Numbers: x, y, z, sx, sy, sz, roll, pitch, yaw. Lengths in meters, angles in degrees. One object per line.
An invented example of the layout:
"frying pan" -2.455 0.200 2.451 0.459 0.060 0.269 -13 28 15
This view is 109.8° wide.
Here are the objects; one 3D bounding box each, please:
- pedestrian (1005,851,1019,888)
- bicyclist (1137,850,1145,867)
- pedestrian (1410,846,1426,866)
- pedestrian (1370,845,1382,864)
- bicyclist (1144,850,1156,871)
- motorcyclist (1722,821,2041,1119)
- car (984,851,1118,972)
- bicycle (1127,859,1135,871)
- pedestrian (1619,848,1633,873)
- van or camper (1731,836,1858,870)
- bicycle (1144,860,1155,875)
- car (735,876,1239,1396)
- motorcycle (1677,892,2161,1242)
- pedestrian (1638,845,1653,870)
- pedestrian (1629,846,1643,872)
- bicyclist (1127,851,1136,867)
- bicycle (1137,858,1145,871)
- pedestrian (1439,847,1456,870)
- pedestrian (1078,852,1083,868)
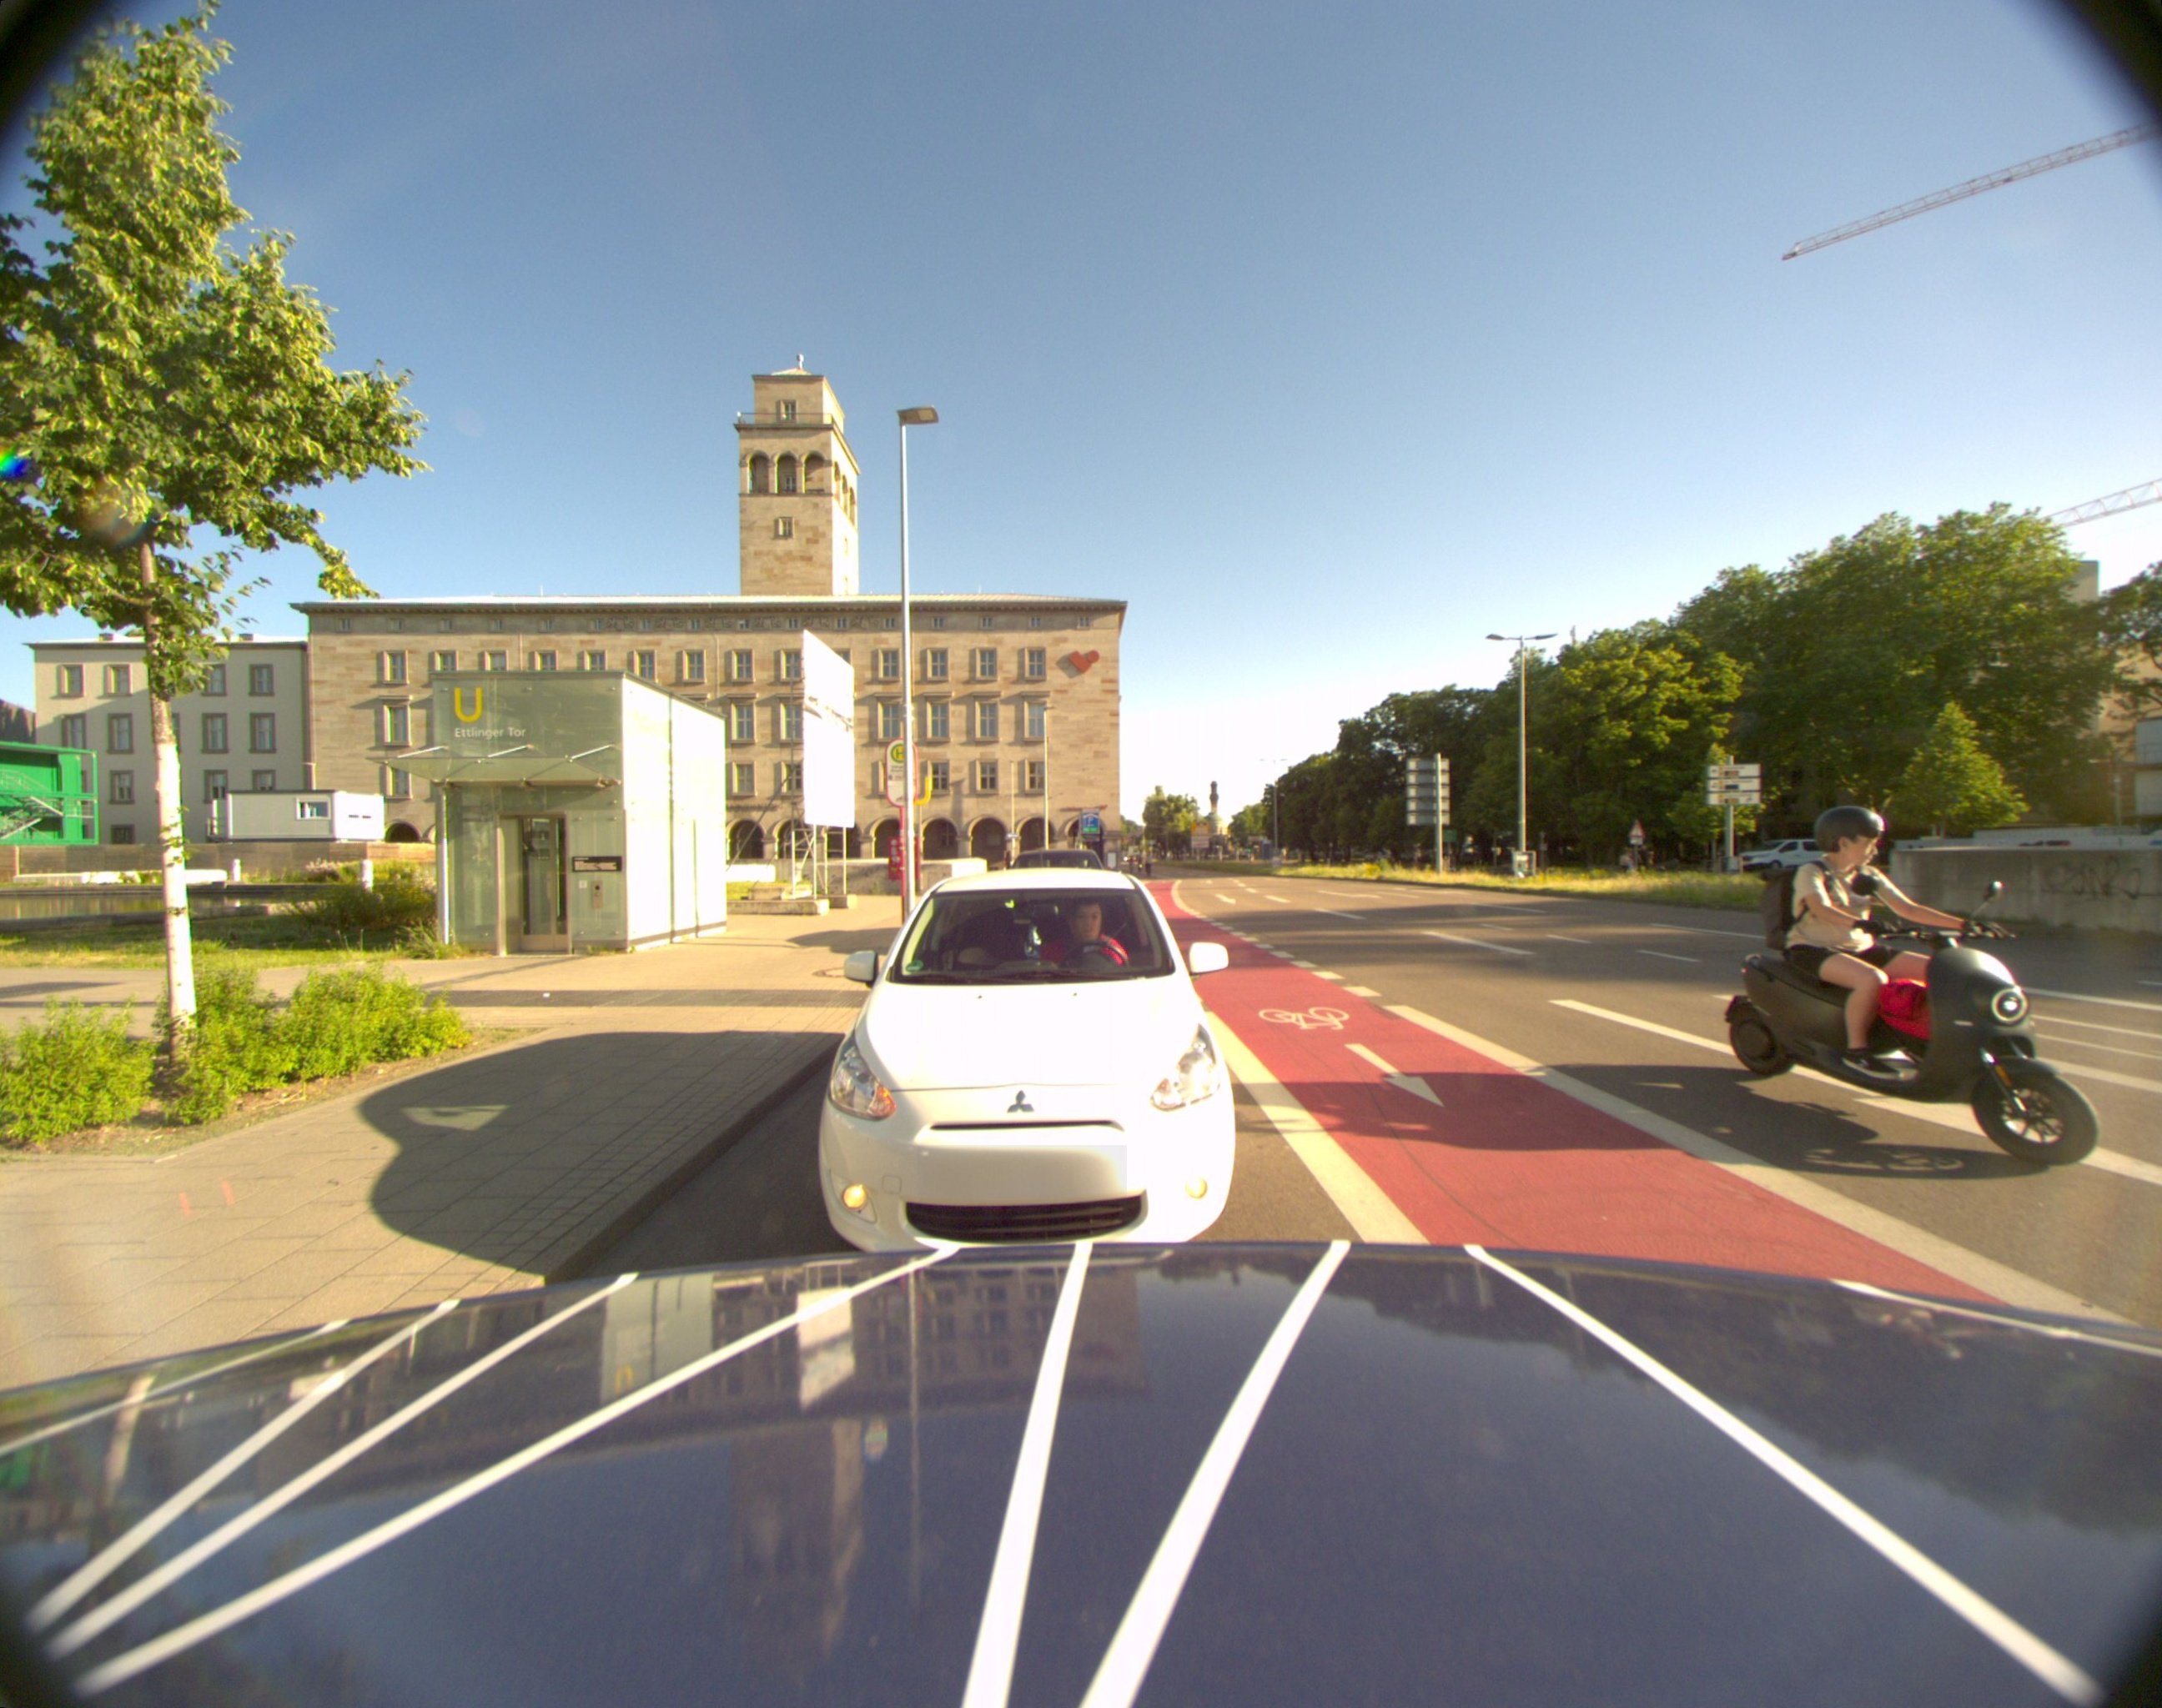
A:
"pedestrian" -3.200 0.703 35.311 0.552 1.692 0.553 -1 1 -1
"bicyclist" 5.845 0.466 73.923 0.674 1.649 0.877 -1 1 1
"pedestrian" 32.425 0.192 73.123 0.951 1.952 1.058 -2 1 -14
"pedestrian" 32.200 0.058 82.982 0.954 2.002 0.842 -1 2 40
"bicyclist" 5.465 0.508 60.313 0.807 1.690 0.852 -1 1 1
"motorcyclist" 4.285 0.570 4.157 0.823 1.455 0.877 -1 1 1
"car" -0.391 0.796 12.569 1.833 1.660 4.000 -1 0 1
"bicycle" 4.897 1.063 73.867 0.689 1.185 1.506 -1 1 1
"pedestrian" 32.414 0.371 45.171 0.499 1.502 0.494 -1 1 1
"van or camper" 42.236 -0.049 45.070 5.499 1.934 1.951 -1 0 4
"bicycle" 5.457 1.100 60.364 0.741 1.140 1.890 -1 0 1
"car" -0.259 0.927 4.318 1.519 1.447 4.000 -1 0 1
"motorcycle" 4.283 0.894 3.972 0.828 1.273 1.944 -1 0 1
"pedestrian" 33.755 0.190 45.431 0.499 1.502 0.494 -1 1 1
"pedestrian" 33.047 0.306 45.259 0.499 1.502 0.494 -1 1 1
"bicyclist" 4.909 0.512 73.892 0.823 1.568 0.877 -1 1 1
"bicycle" 5.863 1.007 73.939 0.689 1.185 1.506 -1 1 1
"pedestrian" 32.706 0.407 67.852 1.126 1.952 0.815 -2 1 1
"pedestrian" -0.076 0.813 97.479 0.612 2.002 0.727 -2 1 0
